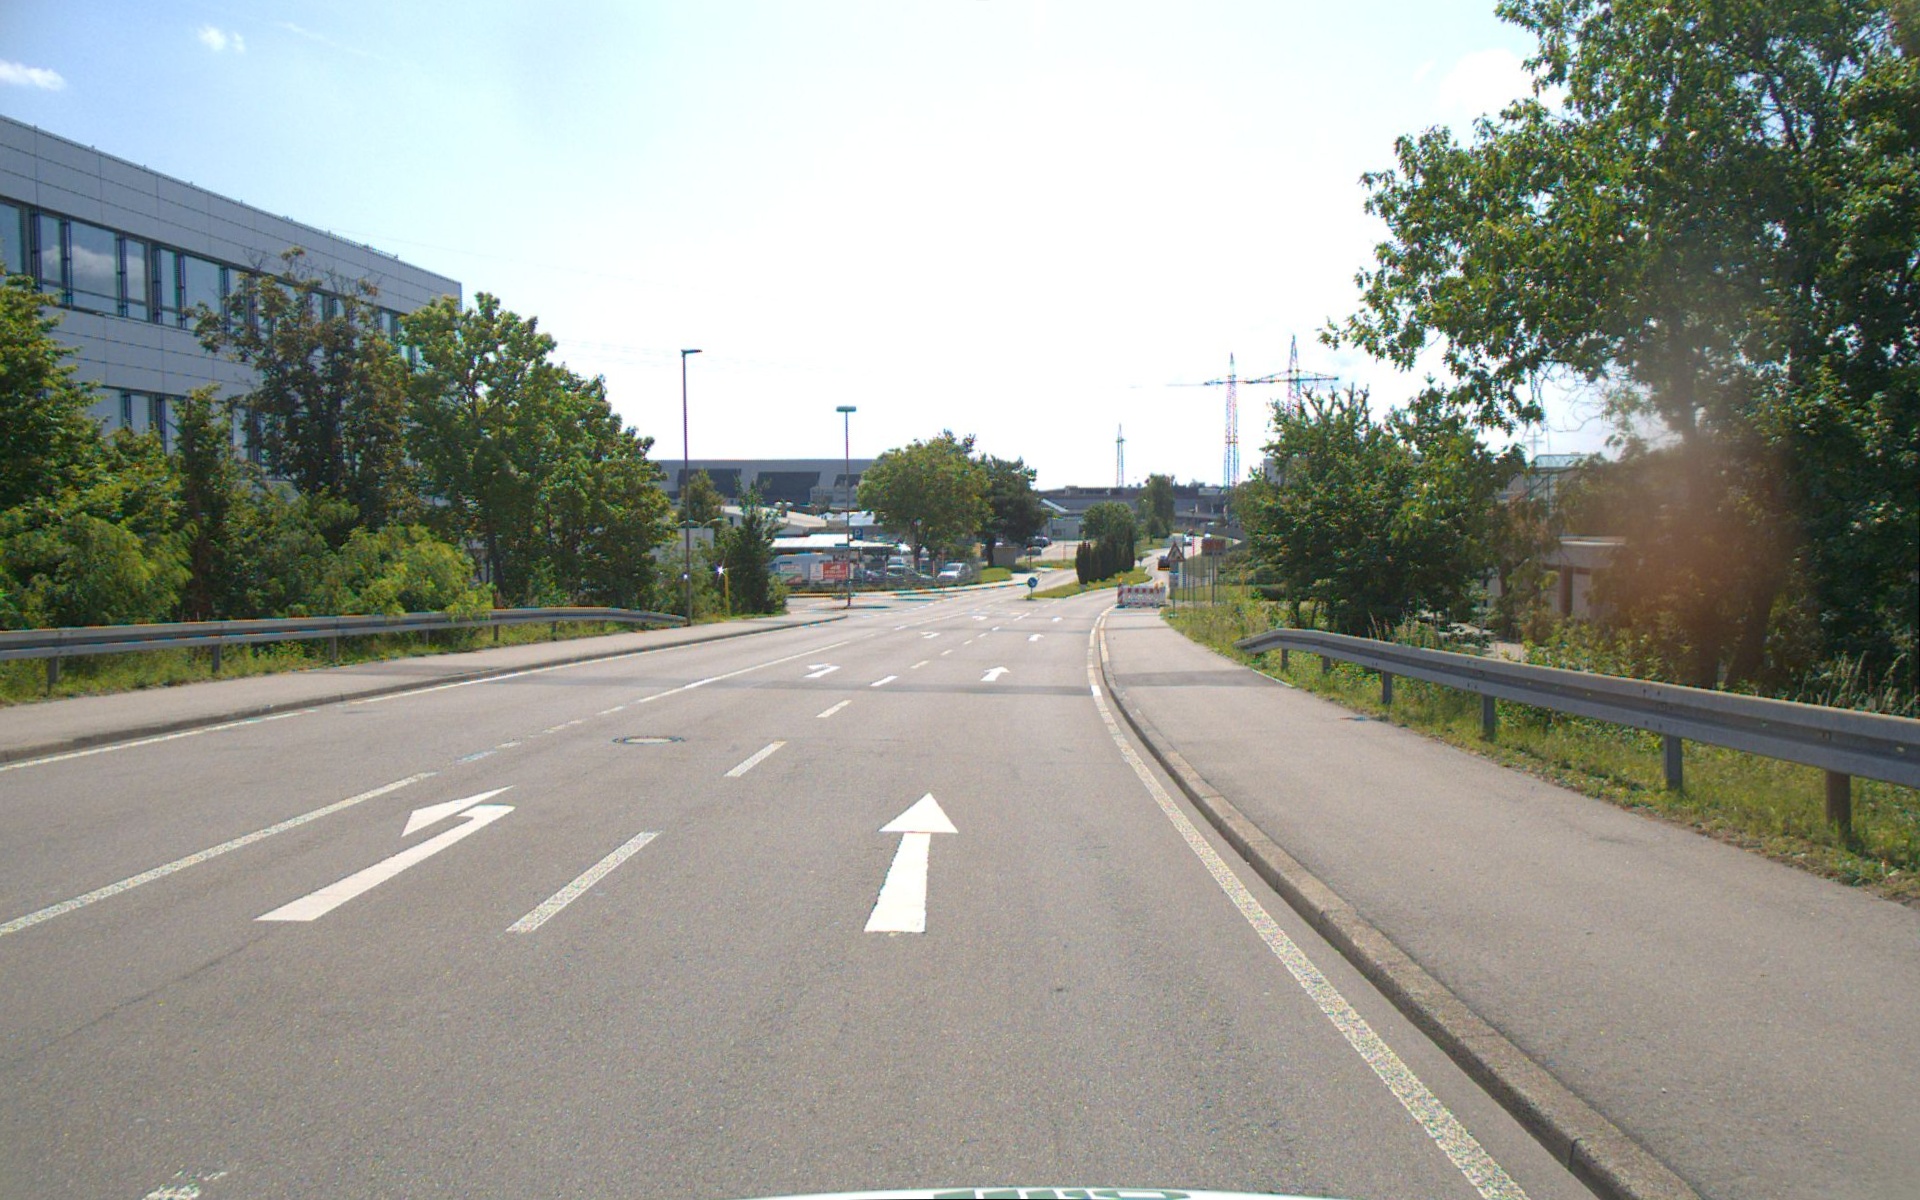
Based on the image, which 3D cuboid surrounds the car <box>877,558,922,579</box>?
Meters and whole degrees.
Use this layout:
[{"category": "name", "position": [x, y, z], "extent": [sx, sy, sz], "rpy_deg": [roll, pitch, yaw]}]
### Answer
[{"category": "car", "position": [-5.392, -2.810, 147.544], "extent": [3.909, 1.882, 1.833], "rpy_deg": [0, 2, -6]}]

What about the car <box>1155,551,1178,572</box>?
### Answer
[{"category": "car", "position": [21.195, -3.929, 169.796], "extent": [2.224, 1.980, 4.669], "rpy_deg": [3, 2, 7]}]

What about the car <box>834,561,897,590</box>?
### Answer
[{"category": "car", "position": [-6.506, -1.703, 113.306], "extent": [3.916, 1.811, 1.995], "rpy_deg": [2, 4, 32]}]

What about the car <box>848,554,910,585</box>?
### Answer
[{"category": "car", "position": [-5.622, -2.145, 115.309], "extent": [3.916, 1.936, 1.995], "rpy_deg": [2, 4, 33]}]

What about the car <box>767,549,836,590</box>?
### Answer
[{"category": "car", "position": [-10.486, -2.013, 109.437], "extent": [4.275, 2.654, 1.994], "rpy_deg": [1, 1, 34]}]
